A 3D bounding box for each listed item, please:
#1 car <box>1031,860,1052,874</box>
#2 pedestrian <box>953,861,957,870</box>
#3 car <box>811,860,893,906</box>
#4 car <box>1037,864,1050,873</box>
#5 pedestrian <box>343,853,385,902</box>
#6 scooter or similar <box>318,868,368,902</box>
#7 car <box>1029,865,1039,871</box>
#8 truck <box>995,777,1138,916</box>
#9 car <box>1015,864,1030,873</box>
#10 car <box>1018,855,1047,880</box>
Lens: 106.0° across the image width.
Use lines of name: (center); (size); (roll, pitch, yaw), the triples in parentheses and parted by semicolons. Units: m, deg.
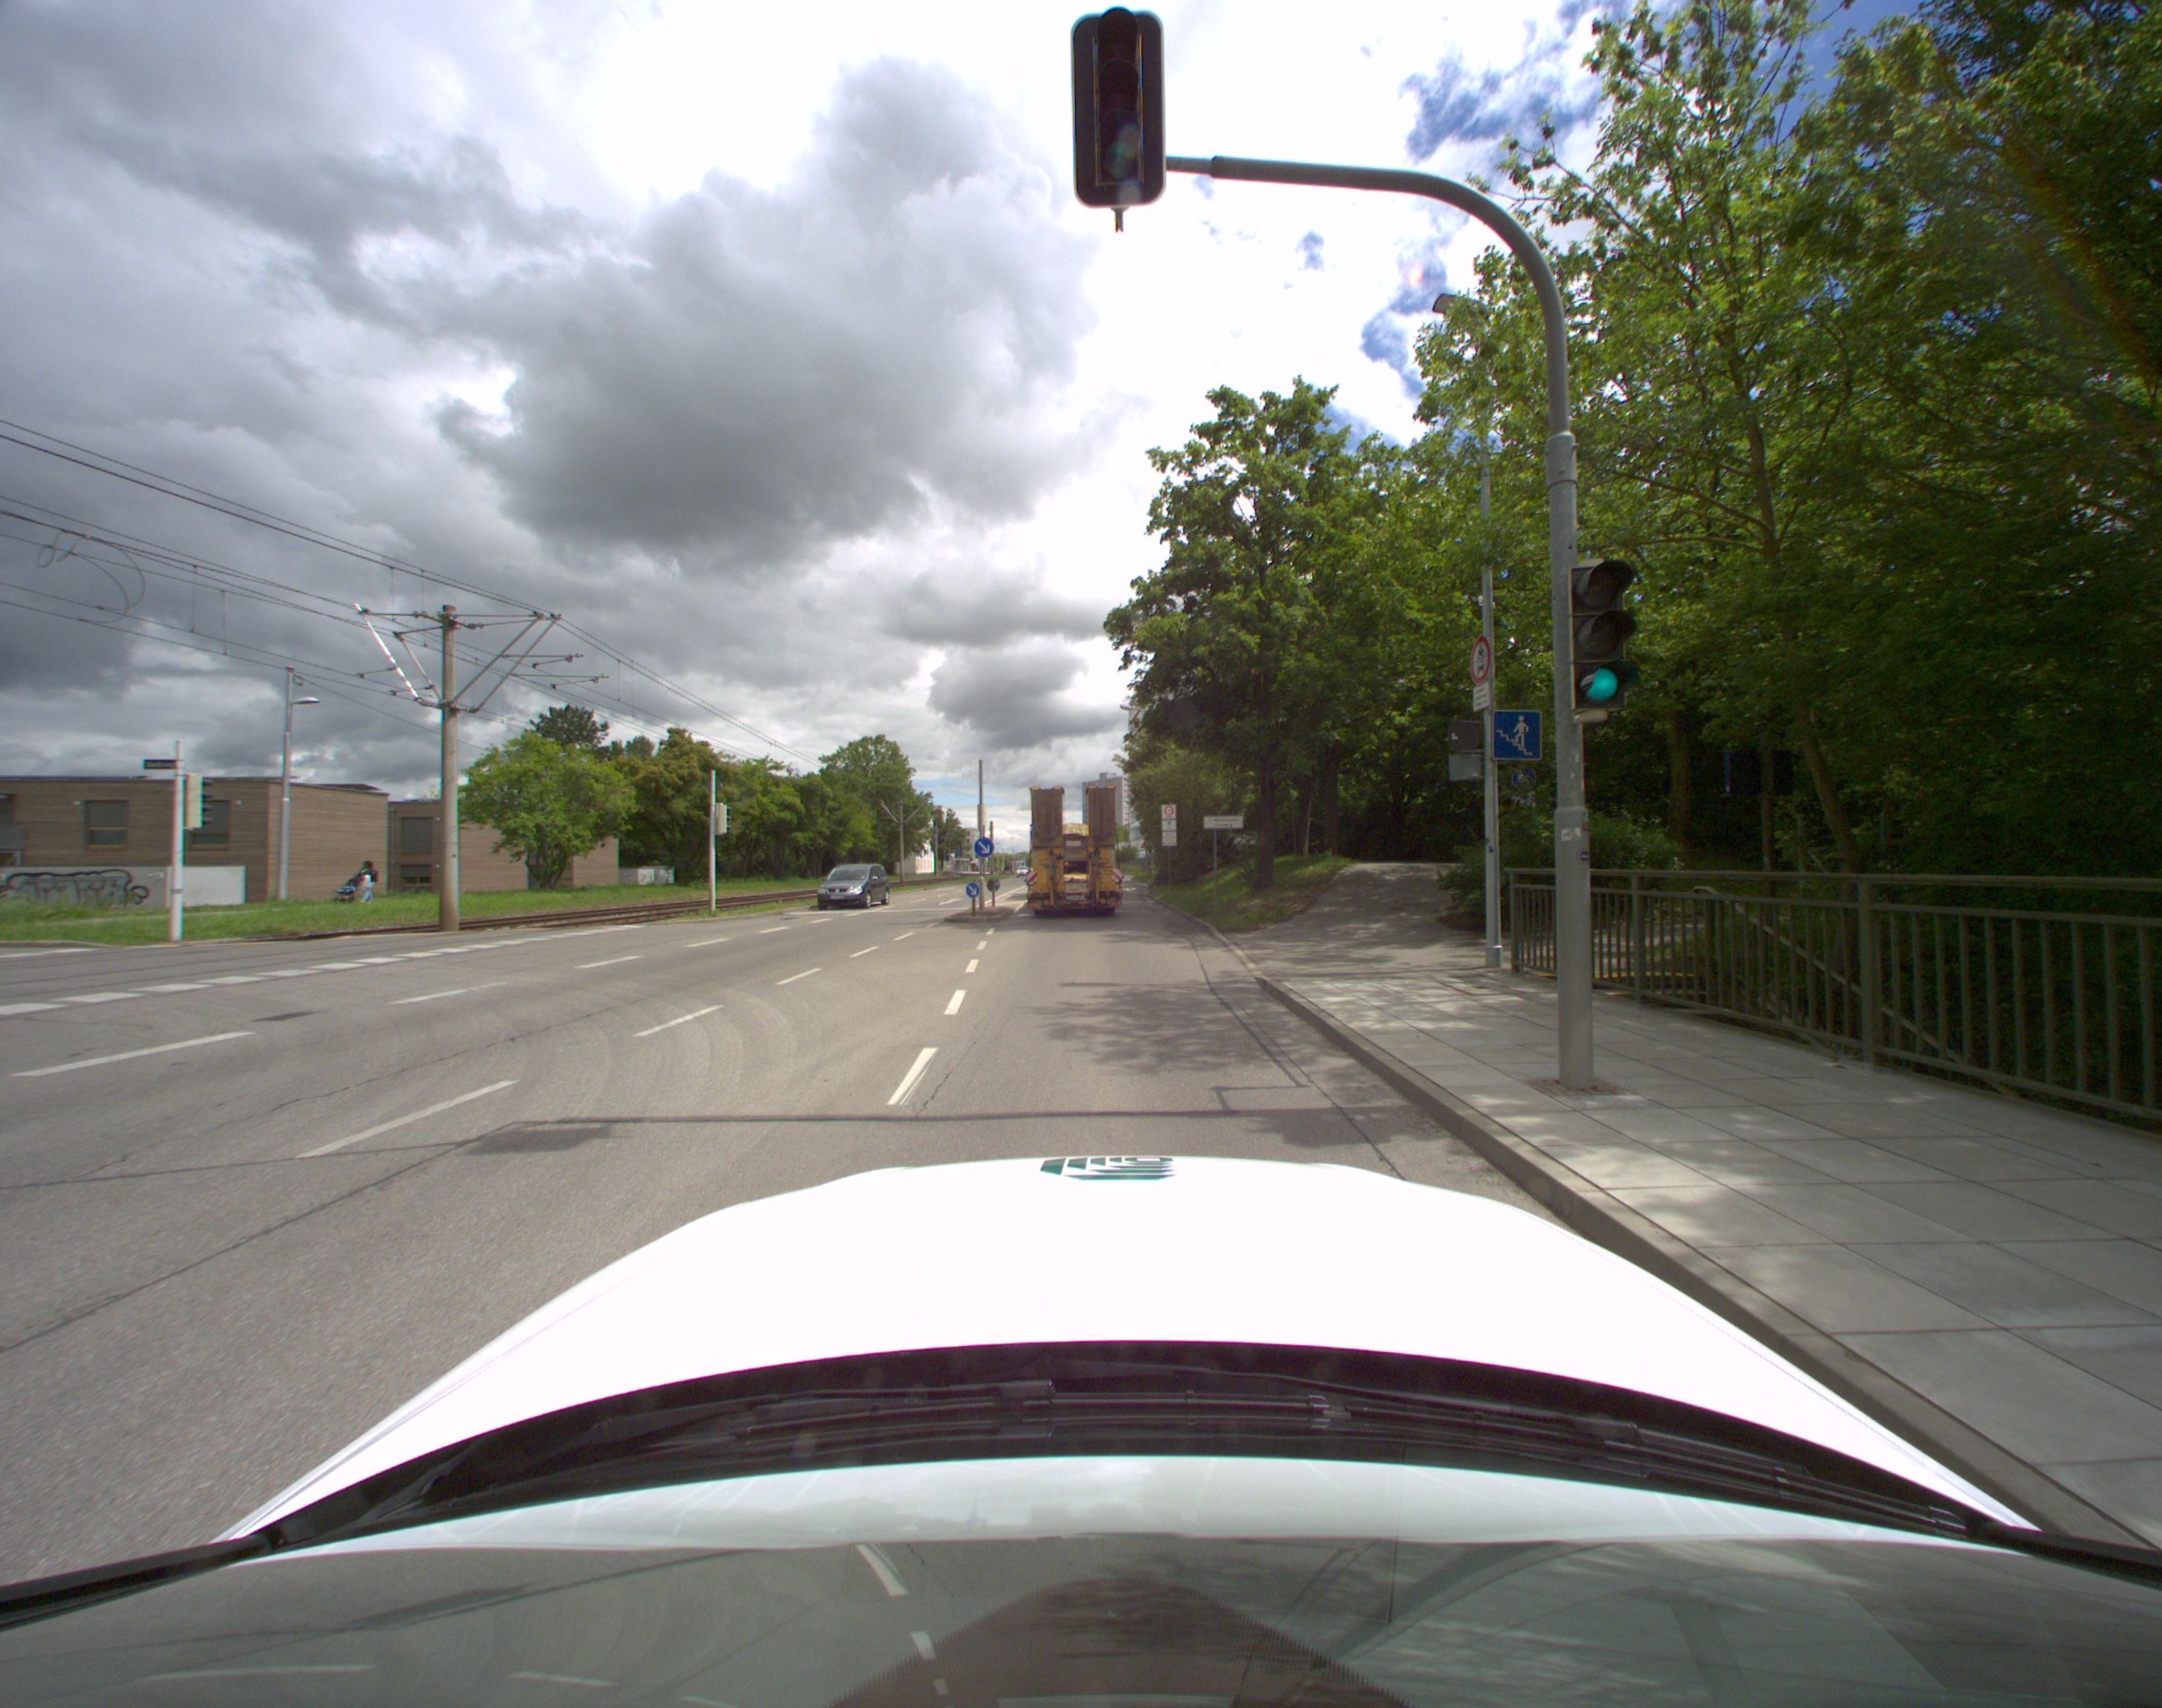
car: (-4.294, 1.366, 89.020); (1.987, 1.420, 4.000); (1, 0, 1)
pedestrian: (-26.169, 2.389, 168.617); (0.649, 2.014, 0.654); (1, -1, 6)
car: (-8.372, 1.024, 30.191); (1.778, 1.570, 4.344); (-1, -1, 0)
car: (-5.828, 2.273, 127.923); (1.778, 1.271, 4.344); (-1, -1, 0)
pedestrian: (-26.907, 0.876, 30.562); (0.798, 1.811, 0.810); (1, -1, 4)
scooter or similar: (-26.953, 1.114, 29.771); (0.887, 1.184, 0.973); (1, -1, 3)
car: (-9.187, 2.708, 158.014); (1.779, 1.271, 4.342); (-1, -1, -1)
truck: (0.052, -0.163, 27.826); (3.299, 3.651, 12.582); (1, 0, 6)
car: (-8.457, 2.102, 118.131); (1.778, 1.271, 4.344); (-1, -1, 0)
car: (-3.871, 1.108, 65.911); (1.987, 1.926, 4.000); (1, 0, 1)
